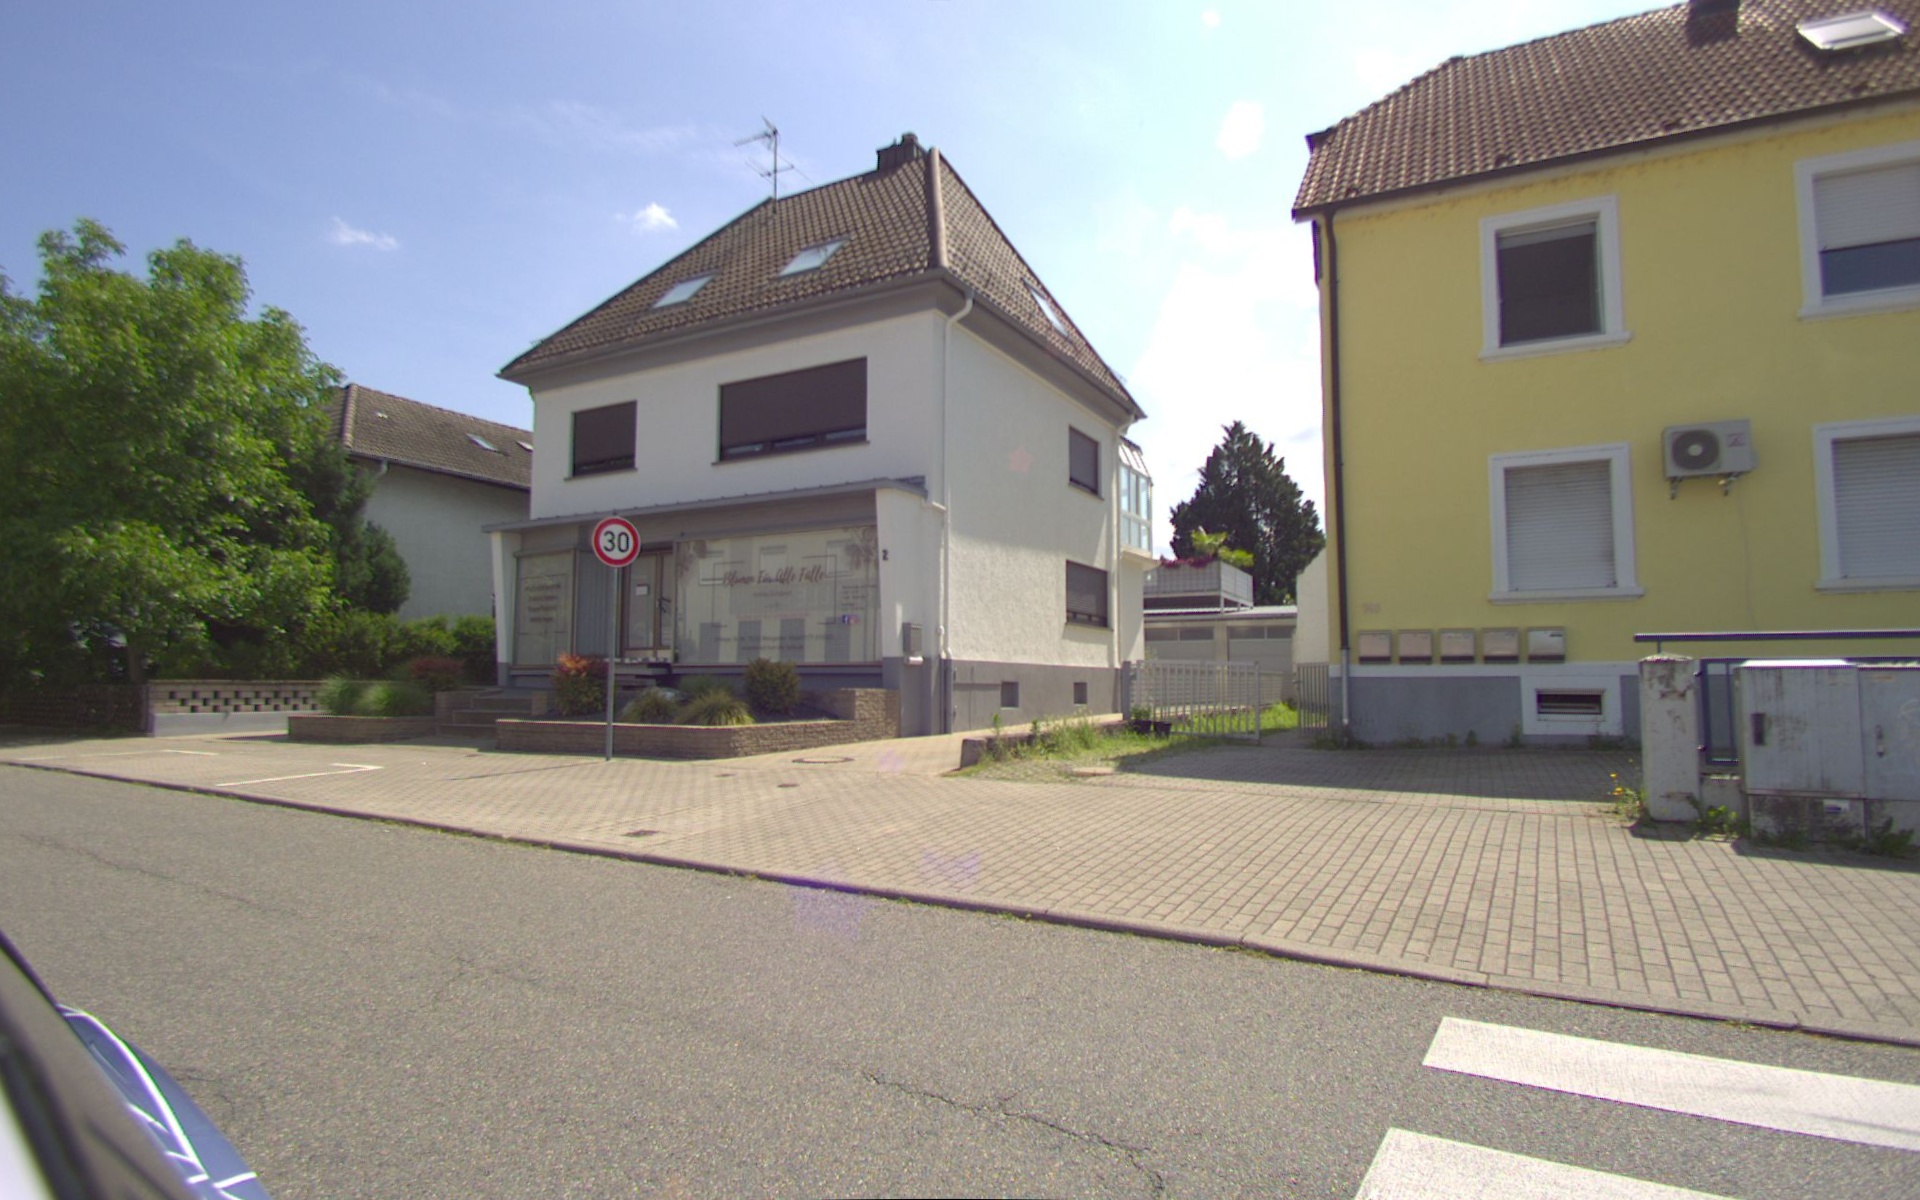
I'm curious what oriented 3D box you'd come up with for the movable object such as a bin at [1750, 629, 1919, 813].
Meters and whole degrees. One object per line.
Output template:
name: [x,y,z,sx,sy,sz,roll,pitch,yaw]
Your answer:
movable object such as a bin: [6.420,0.849,7.369,0.899,1.235,0.878,-3,-5,31]
